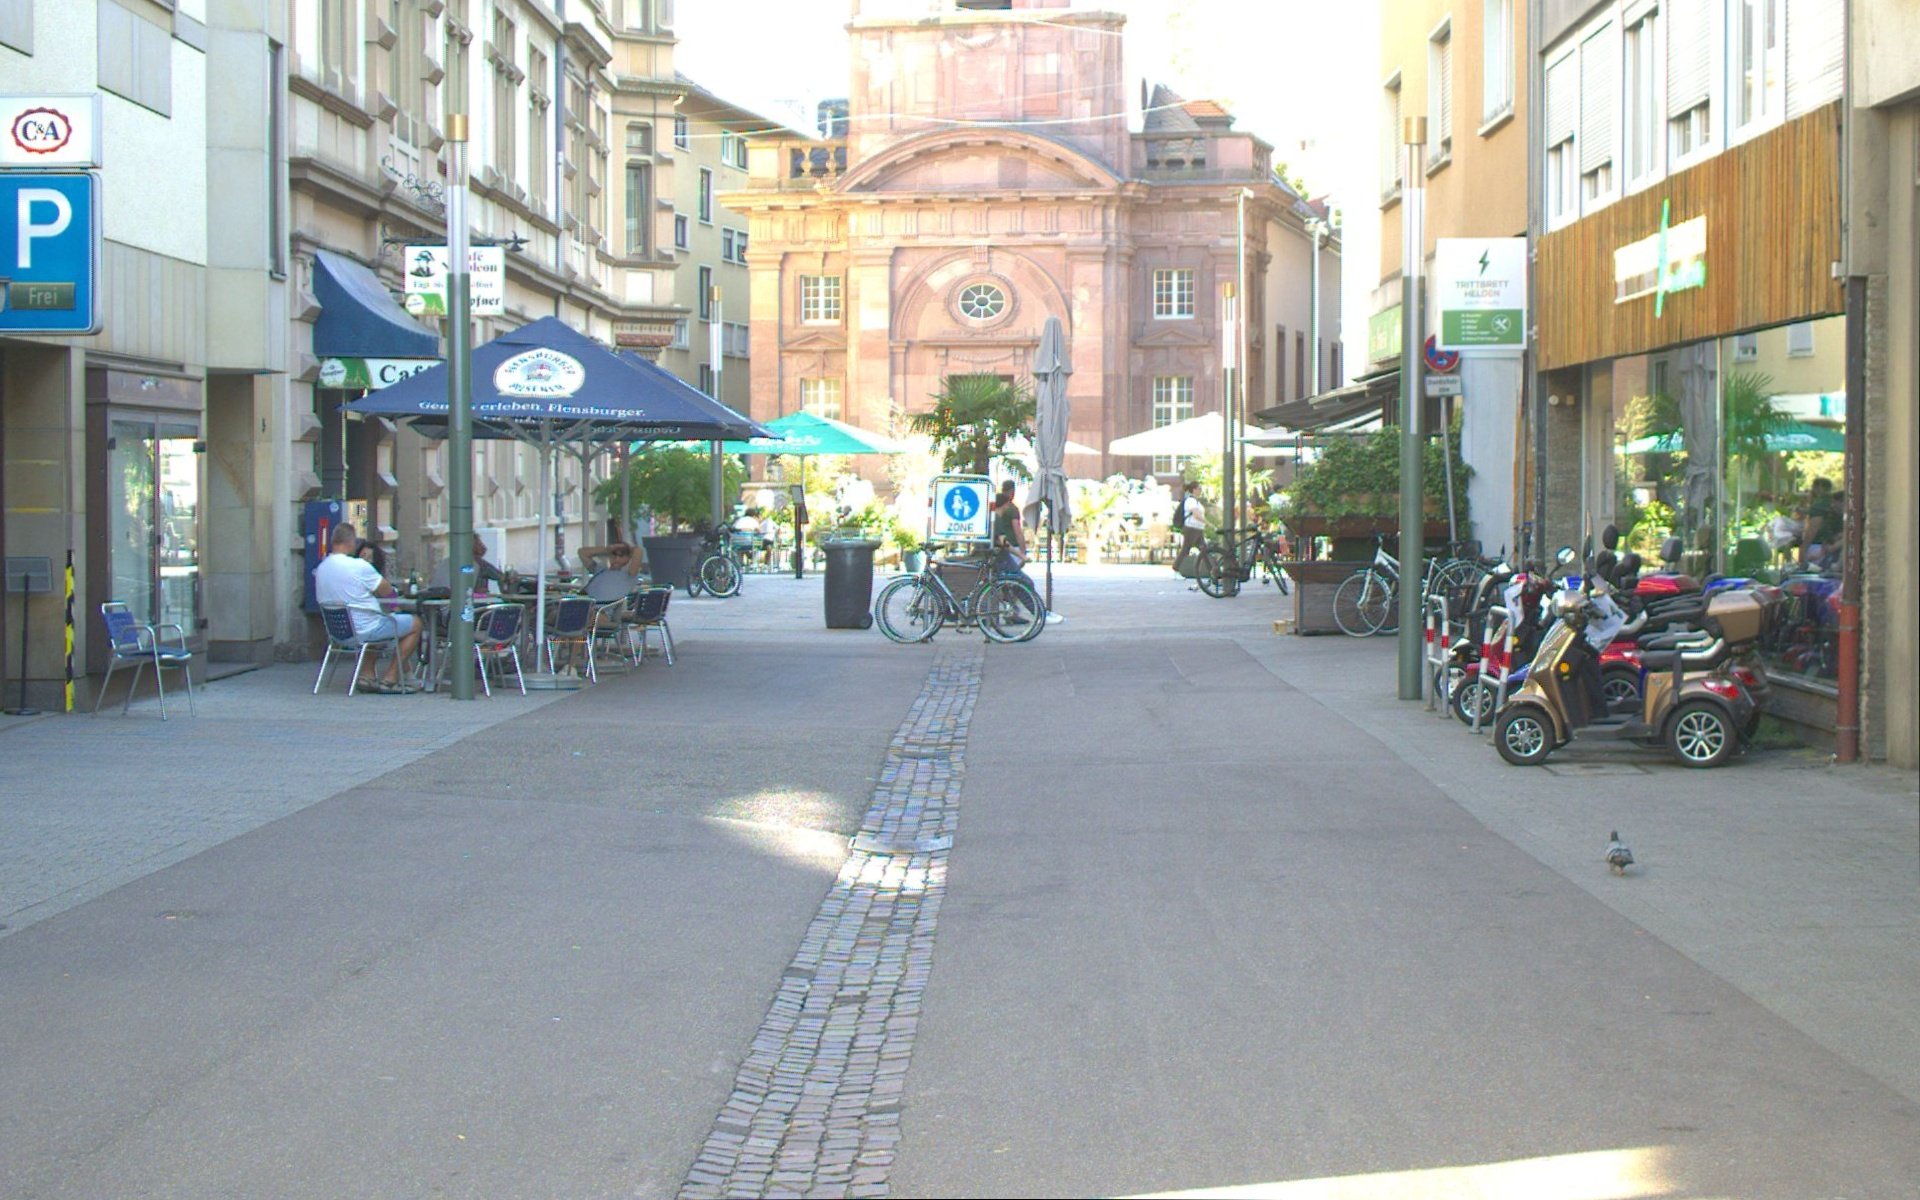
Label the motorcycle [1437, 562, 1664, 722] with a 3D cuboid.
[{"bbox_3d":[4.054,0.280,23.615,1.485,1.072,0.412,0,1,19],"label":"motorcycle"}]

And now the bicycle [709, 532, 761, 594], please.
[{"bbox_3d":[-3.230,-0.546,49.494,0.456,0.847,2.146,0,2,4],"label":"bicycle"}]

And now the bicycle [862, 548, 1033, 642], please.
[{"bbox_3d":[-0.140,-0.054,36.976,1.823,1.001,0.381,0,2,-2],"label":"bicycle"}]

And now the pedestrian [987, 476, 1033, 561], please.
[{"bbox_3d":[0.970,-1.578,66.738,0.611,1.635,0.658,-1,2,-35],"label":"pedestrian"}]

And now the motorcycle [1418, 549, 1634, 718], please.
[{"bbox_3d":[4.036,0.232,24.508,1.485,1.177,0.412,0,1,16],"label":"motorcycle"}]

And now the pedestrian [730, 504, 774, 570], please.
[{"bbox_3d":[-3.837,-1.166,63.505,0.700,1.213,0.719,0,2,7],"label":"pedestrian"}]

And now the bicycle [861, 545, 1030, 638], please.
[{"bbox_3d":[-0.161,-0.093,37.387,1.823,1.001,0.381,0,2,-2],"label":"bicycle"}]

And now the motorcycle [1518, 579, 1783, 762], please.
[{"bbox_3d":[4.143,0.412,20.643,1.518,1.072,0.412,0,1,19],"label":"motorcycle"}]

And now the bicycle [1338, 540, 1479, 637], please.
[{"bbox_3d":[4.752,-0.130,36.415,1.464,1.001,0.573,0,2,8],"label":"bicycle"}]

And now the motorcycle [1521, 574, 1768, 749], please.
[{"bbox_3d":[4.312,0.377,21.665,1.485,1.072,0.412,0,1,19],"label":"motorcycle"}]

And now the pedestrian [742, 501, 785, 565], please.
[{"bbox_3d":[-3.711,-1.270,64.932,0.700,1.213,0.719,0,2,7],"label":"pedestrian"}]

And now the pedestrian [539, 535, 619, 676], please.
[{"bbox_3d":[-3.348,0.040,30.166,0.692,1.211,0.583,0,2,-7],"label":"pedestrian"}]

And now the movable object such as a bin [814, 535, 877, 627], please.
[{"bbox_3d":[-1.338,-0.223,40.281,0.721,1.071,0.374,0,2,0],"label":"movable object such as a bin"}]

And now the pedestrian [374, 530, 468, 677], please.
[{"bbox_3d":[-4.625,0.021,29.533,0.765,1.229,0.831,0,2,-7],"label":"pedestrian"}]

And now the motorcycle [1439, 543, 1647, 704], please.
[{"bbox_3d":[4.333,0.167,25.555,1.485,1.177,0.412,0,1,16],"label":"motorcycle"}]

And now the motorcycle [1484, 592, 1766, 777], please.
[{"bbox_3d":[3.848,0.479,19.914,1.565,1.038,0.372,0,1,19],"label":"motorcycle"}]

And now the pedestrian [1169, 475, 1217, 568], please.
[{"bbox_3d":[3.939,-1.327,58.031,0.784,1.550,0.535,0,2,6],"label":"pedestrian"}]

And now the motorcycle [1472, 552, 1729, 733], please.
[{"bbox_3d":[4.262,0.270,22.881,1.626,1.171,0.480,0,1,19],"label":"motorcycle"}]

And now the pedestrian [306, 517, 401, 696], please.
[{"bbox_3d":[-4.722,0.042,26.740,0.708,1.363,0.720,0,2,-11],"label":"pedestrian"}]

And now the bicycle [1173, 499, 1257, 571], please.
[{"bbox_3d":[4.661,-1.196,62.801,1.586,1.303,0.366,-1,2,-28],"label":"bicycle"}]

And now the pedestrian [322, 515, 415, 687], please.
[{"bbox_3d":[-4.766,-0.002,27.676,0.717,1.363,0.710,0,2,-11],"label":"pedestrian"}]

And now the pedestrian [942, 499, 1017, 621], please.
[{"bbox_3d":[0.240,-0.489,41.493,0.884,1.459,0.731,0,2,2],"label":"pedestrian"}]
